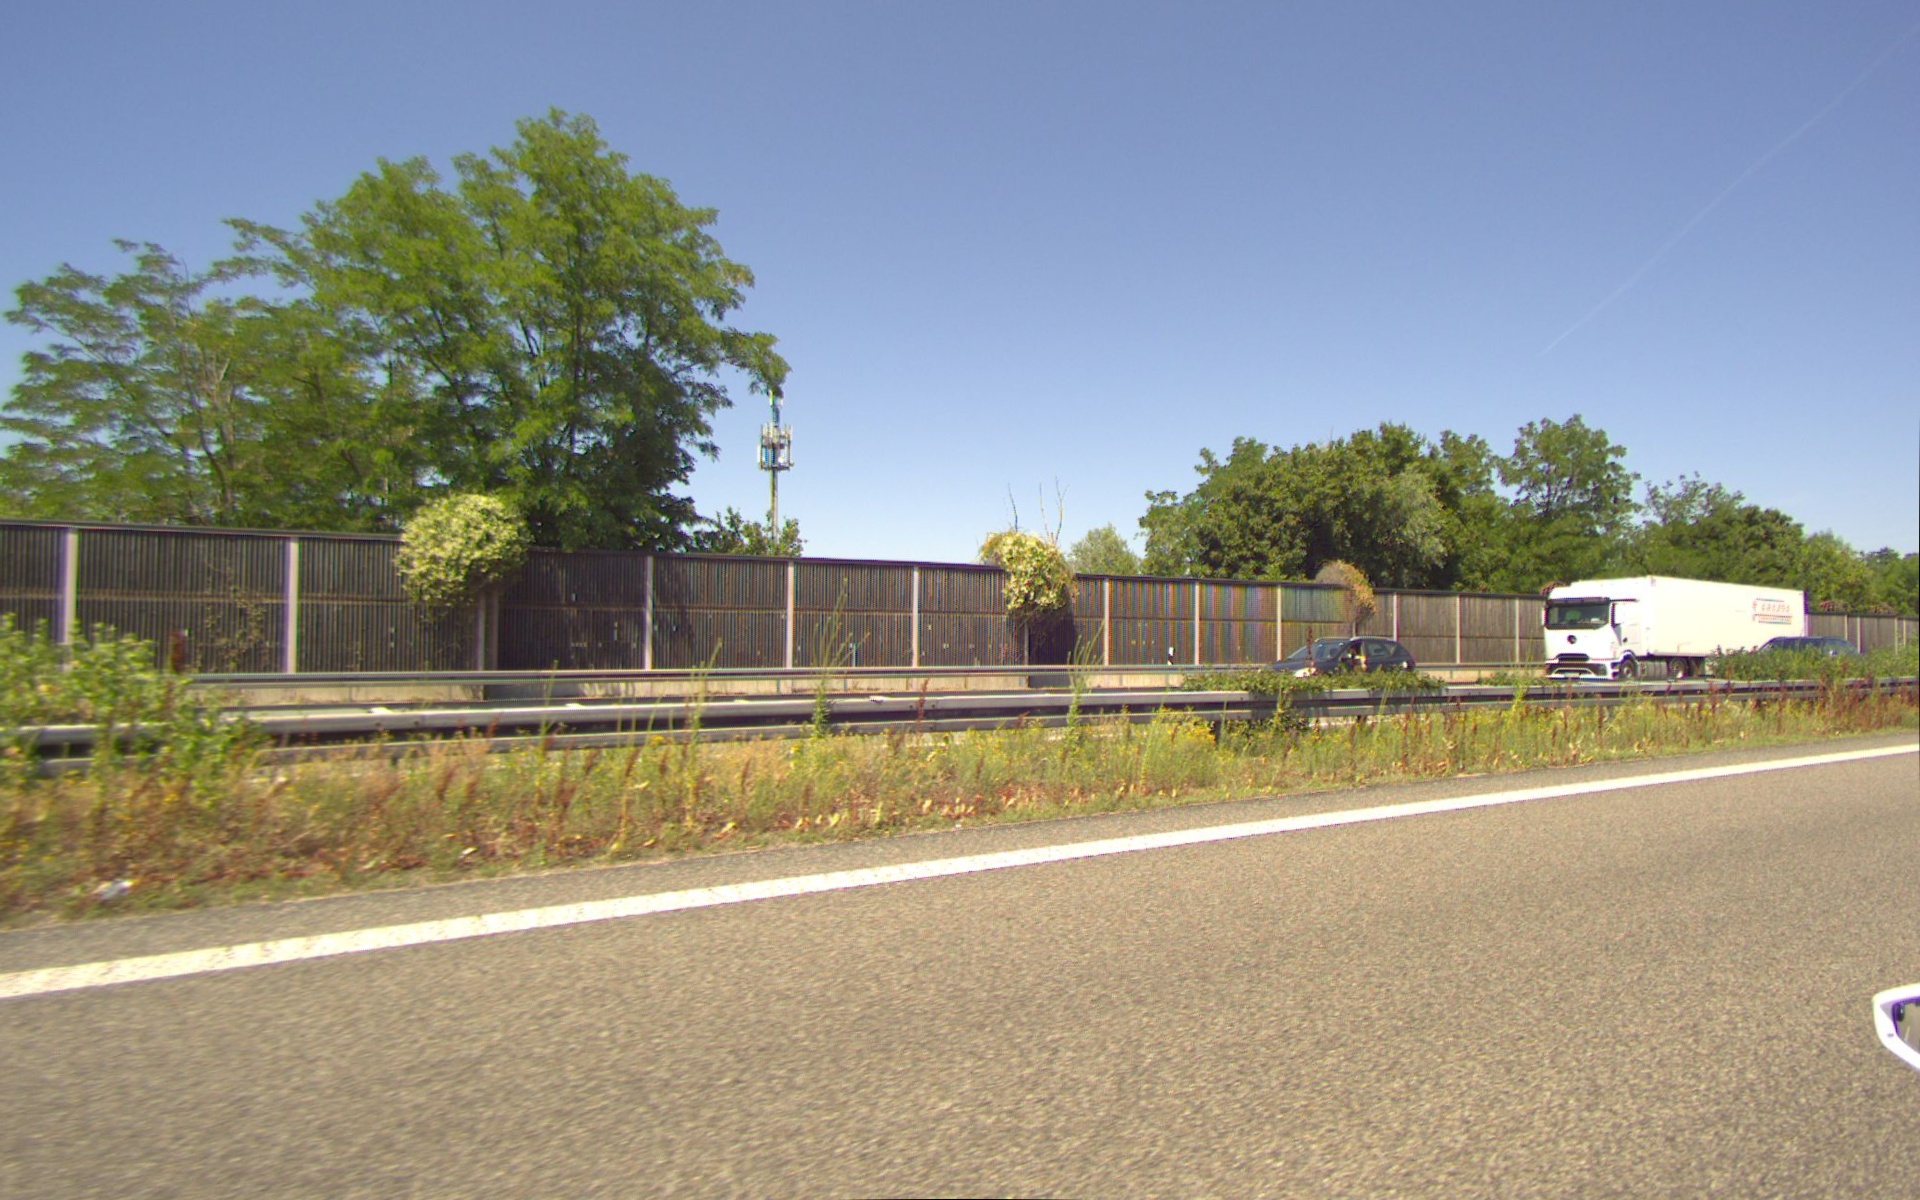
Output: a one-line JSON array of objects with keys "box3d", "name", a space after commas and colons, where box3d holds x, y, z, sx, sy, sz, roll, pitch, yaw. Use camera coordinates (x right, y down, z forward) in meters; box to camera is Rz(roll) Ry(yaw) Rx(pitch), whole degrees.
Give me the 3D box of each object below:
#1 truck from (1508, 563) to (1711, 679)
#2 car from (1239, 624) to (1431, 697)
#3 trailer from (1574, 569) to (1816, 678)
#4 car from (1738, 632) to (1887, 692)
[{"box3d": [25.495, 0.888, 39.378, 7.746, 4.157, 3.565, 2, -2, -30], "name": "truck"}, {"box3d": [9.068, 1.424, 24.239, 4.453, 1.617, 1.984, 2, -2, -30], "name": "car"}, {"box3d": [31.612, 1.104, 42.929, 12.645, 4.157, 3.594, 2, -2, -30], "name": "trailer"}, {"box3d": [24.682, 1.750, 29.045, 4.692, 1.617, 1.814, 2, -2, -30], "name": "car"}]
